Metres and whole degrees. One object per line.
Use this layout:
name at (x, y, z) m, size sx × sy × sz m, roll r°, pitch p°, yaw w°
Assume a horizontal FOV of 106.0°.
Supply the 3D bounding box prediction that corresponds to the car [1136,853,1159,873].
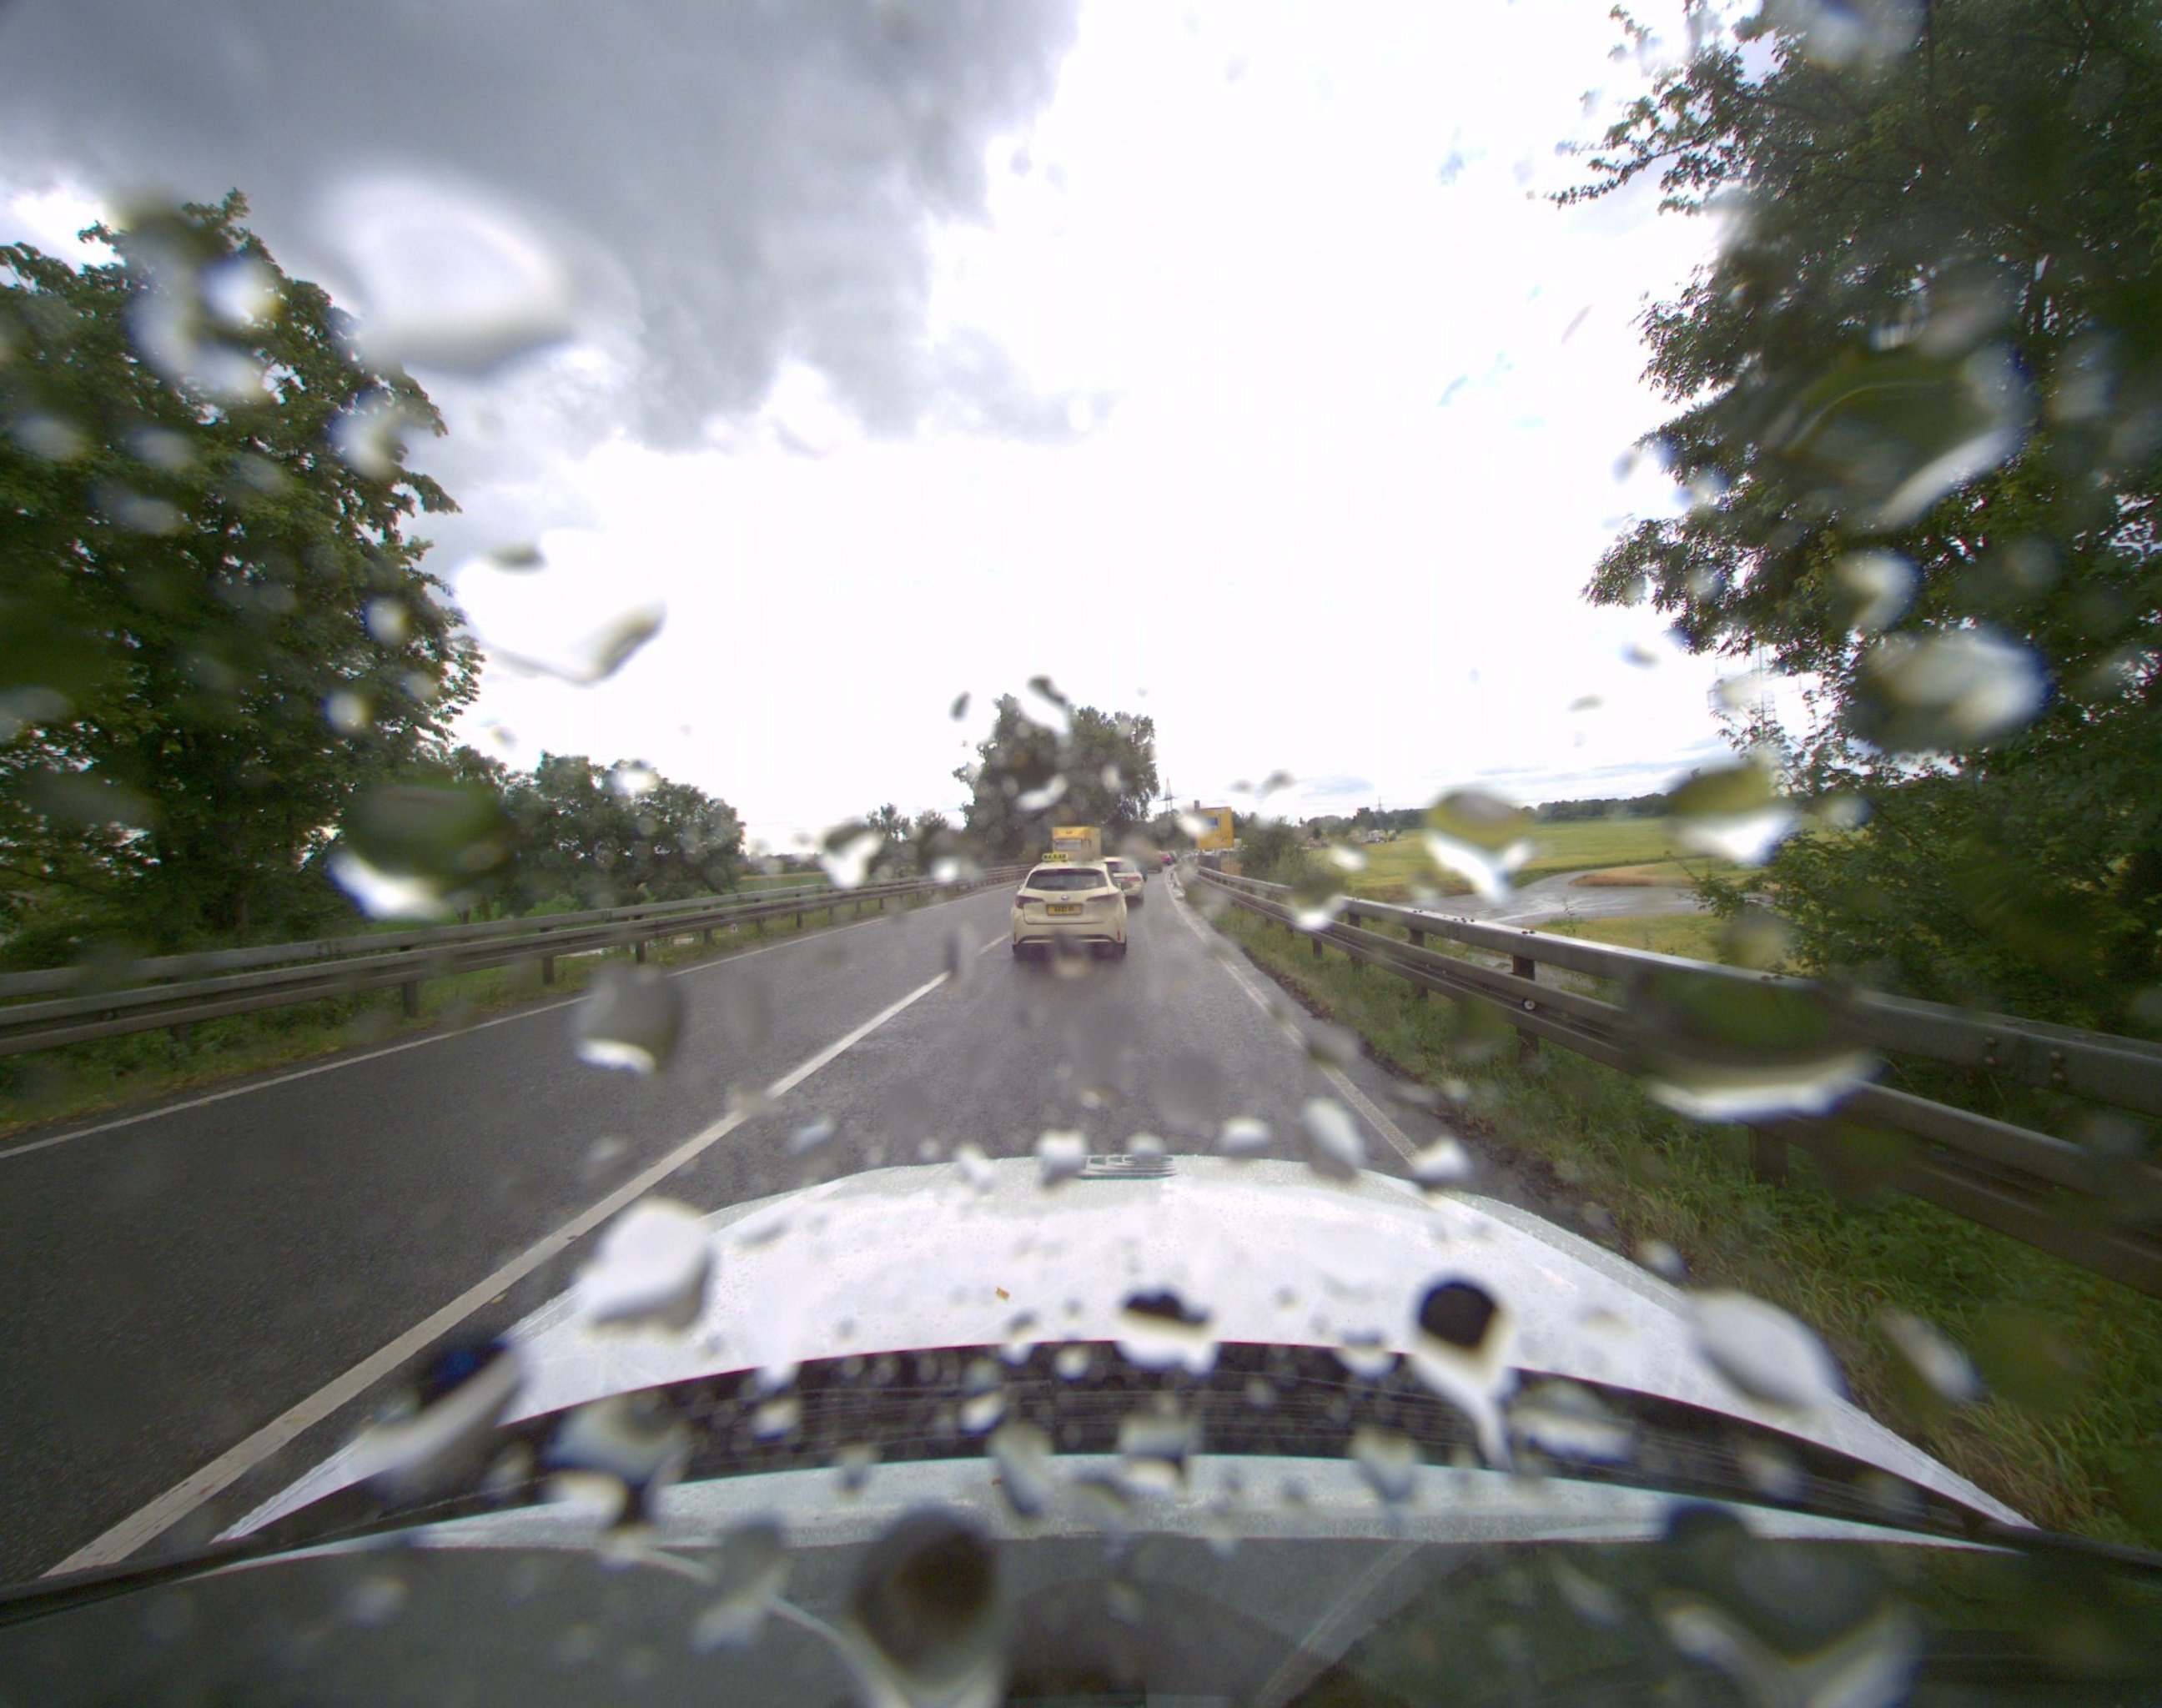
car at (5.006, 0.651, 61.106) m, size 1.657 × 1.464 × 3.482 m, roll -1°, pitch 0°, yaw 6°

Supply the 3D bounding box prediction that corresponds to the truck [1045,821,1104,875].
truck at (-0.308, -0.278, 56.809) m, size 2.755 × 3.430 × 9.206 m, roll 0°, pitch -2°, yaw 8°

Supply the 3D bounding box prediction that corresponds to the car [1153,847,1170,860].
car at (8.848, -0.028, 89.327) m, size 1.651 × 1.409 × 3.912 m, roll -1°, pitch -1°, yaw 7°

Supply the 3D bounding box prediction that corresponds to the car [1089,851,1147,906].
car at (1.216, 0.713, 25.259) m, size 1.570 × 1.572 × 3.687 m, roll -1°, pitch 0°, yaw 5°

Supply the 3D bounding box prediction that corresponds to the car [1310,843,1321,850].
car at (65.797, -1.991, 228.714) m, size 1.801 × 1.838 × 4.014 m, roll -1°, pitch -1°, yaw 32°

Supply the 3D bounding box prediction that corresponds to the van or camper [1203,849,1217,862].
van or camper at (22.591, 0.238, 142.744) m, size 1.979 × 2.254 × 4.016 m, roll -1°, pitch -1°, yaw 15°

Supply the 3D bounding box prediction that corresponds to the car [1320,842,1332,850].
car at (70.769, -2.295, 235.148) m, size 1.974 × 2.014 × 4.025 m, roll -1°, pitch -1°, yaw 33°

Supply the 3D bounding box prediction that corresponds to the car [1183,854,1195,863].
car at (15.942, 0.682, 120.043) m, size 1.473 × 1.309 × 3.487 m, roll -1°, pitch 0°, yaw 10°

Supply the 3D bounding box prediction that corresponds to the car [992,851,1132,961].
car at (-0.142, 0.755, 13.746) m, size 1.897 × 1.537 × 4.167 m, roll -1°, pitch 0°, yaw 5°

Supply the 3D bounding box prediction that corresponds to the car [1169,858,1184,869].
car at (12.045, 1.146, 102.588) m, size 1.472 × 1.309 × 3.489 m, roll -1°, pitch 0°, yaw 13°

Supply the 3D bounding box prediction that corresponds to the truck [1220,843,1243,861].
truck at (30.605, -0.335, 165.245) m, size 3.113 × 3.562 × 7.561 m, roll -1°, pitch -1°, yaw 22°

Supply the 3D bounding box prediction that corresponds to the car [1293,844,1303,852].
car at (56.745, -1.515, 212.826) m, size 1.903 × 1.838 × 4.021 m, roll -1°, pitch -1°, yaw 22°

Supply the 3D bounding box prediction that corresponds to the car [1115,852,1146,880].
car at (2.735, 0.652, 44.430) m, size 1.498 × 1.437 × 3.361 m, roll -1°, pitch 0°, yaw 6°
